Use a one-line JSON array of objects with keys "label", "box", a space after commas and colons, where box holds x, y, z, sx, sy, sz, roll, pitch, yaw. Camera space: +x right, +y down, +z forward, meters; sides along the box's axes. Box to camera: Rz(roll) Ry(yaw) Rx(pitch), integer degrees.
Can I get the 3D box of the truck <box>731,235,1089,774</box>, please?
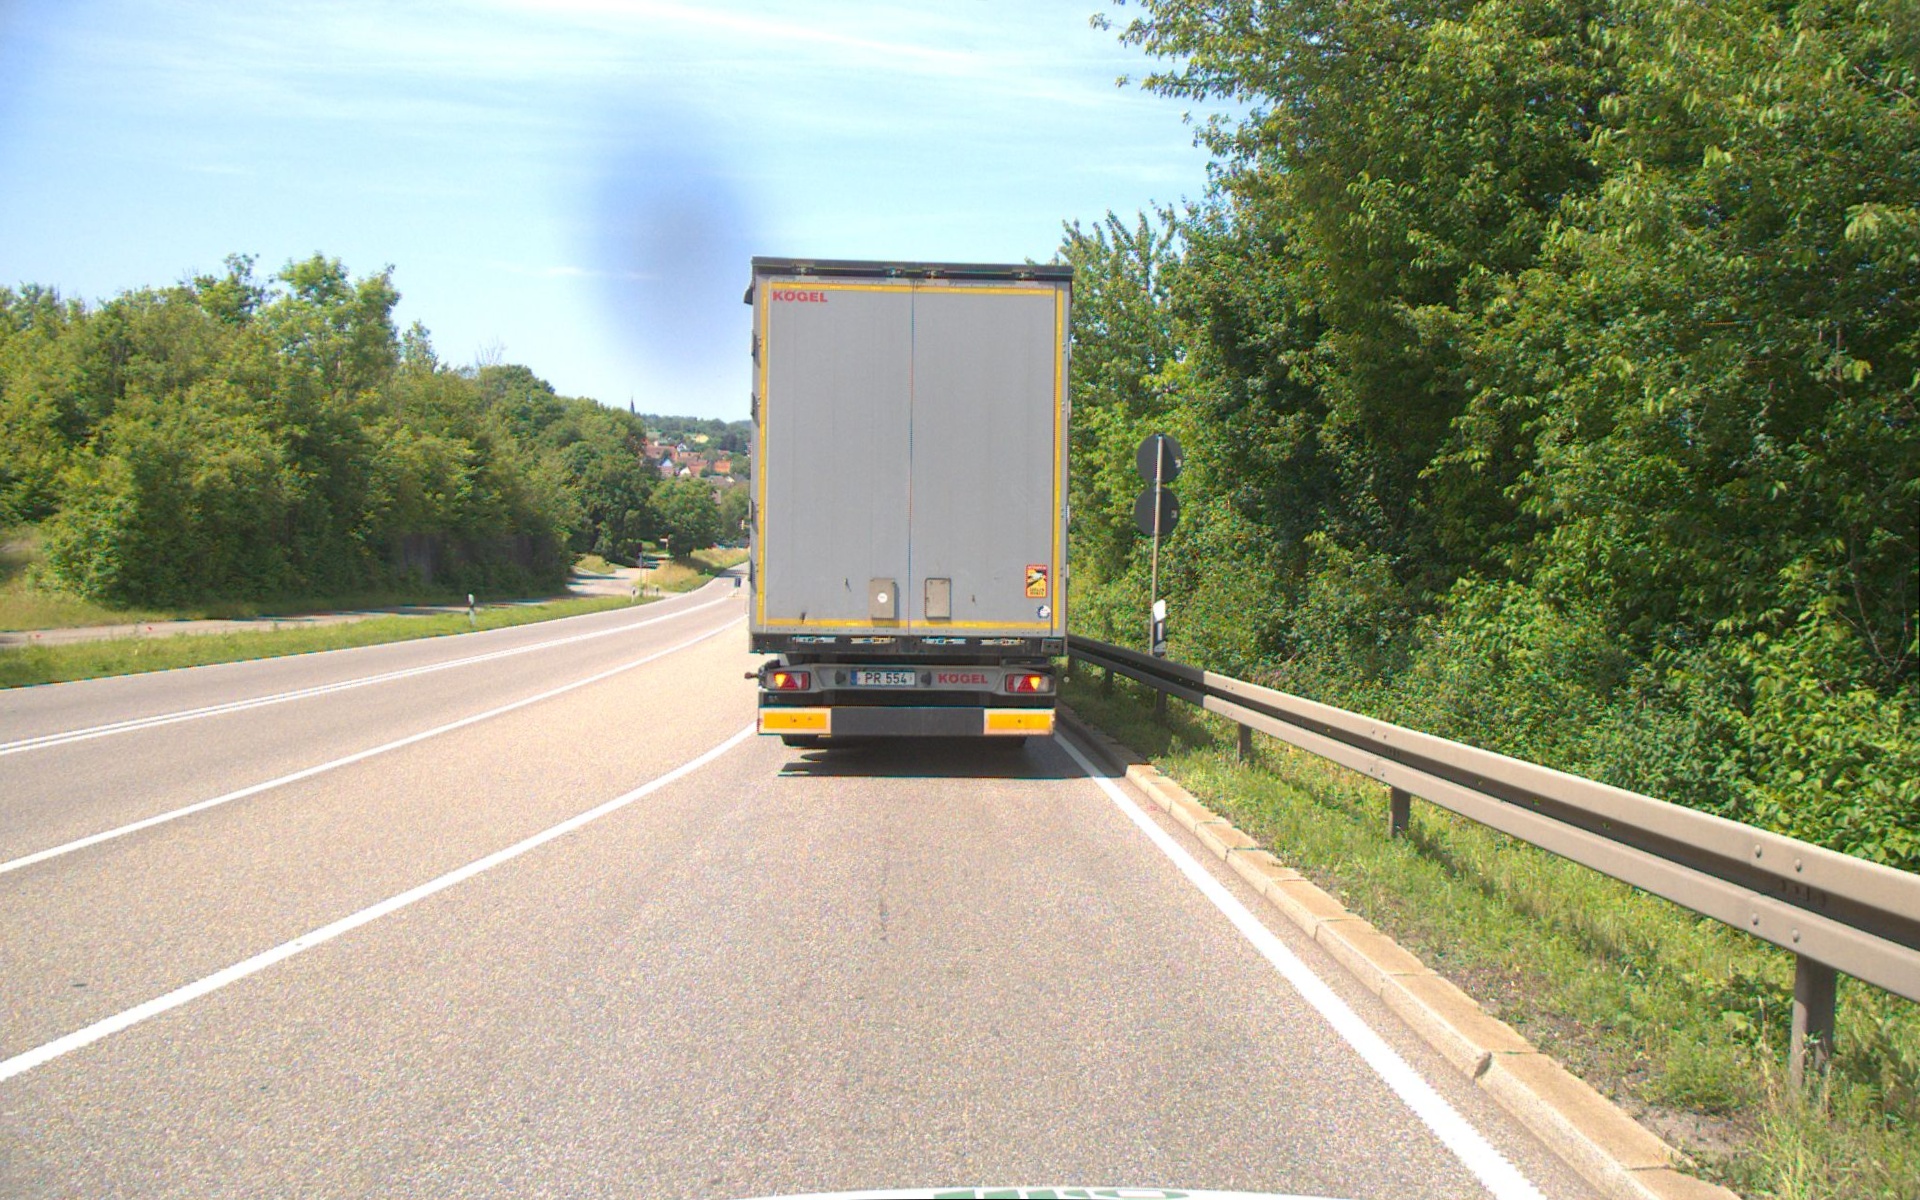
[{"label": "truck", "box": [-0.466, -0.788, 18.651, 2.701, 4.100, 11.922, 1, 1, -1]}]
